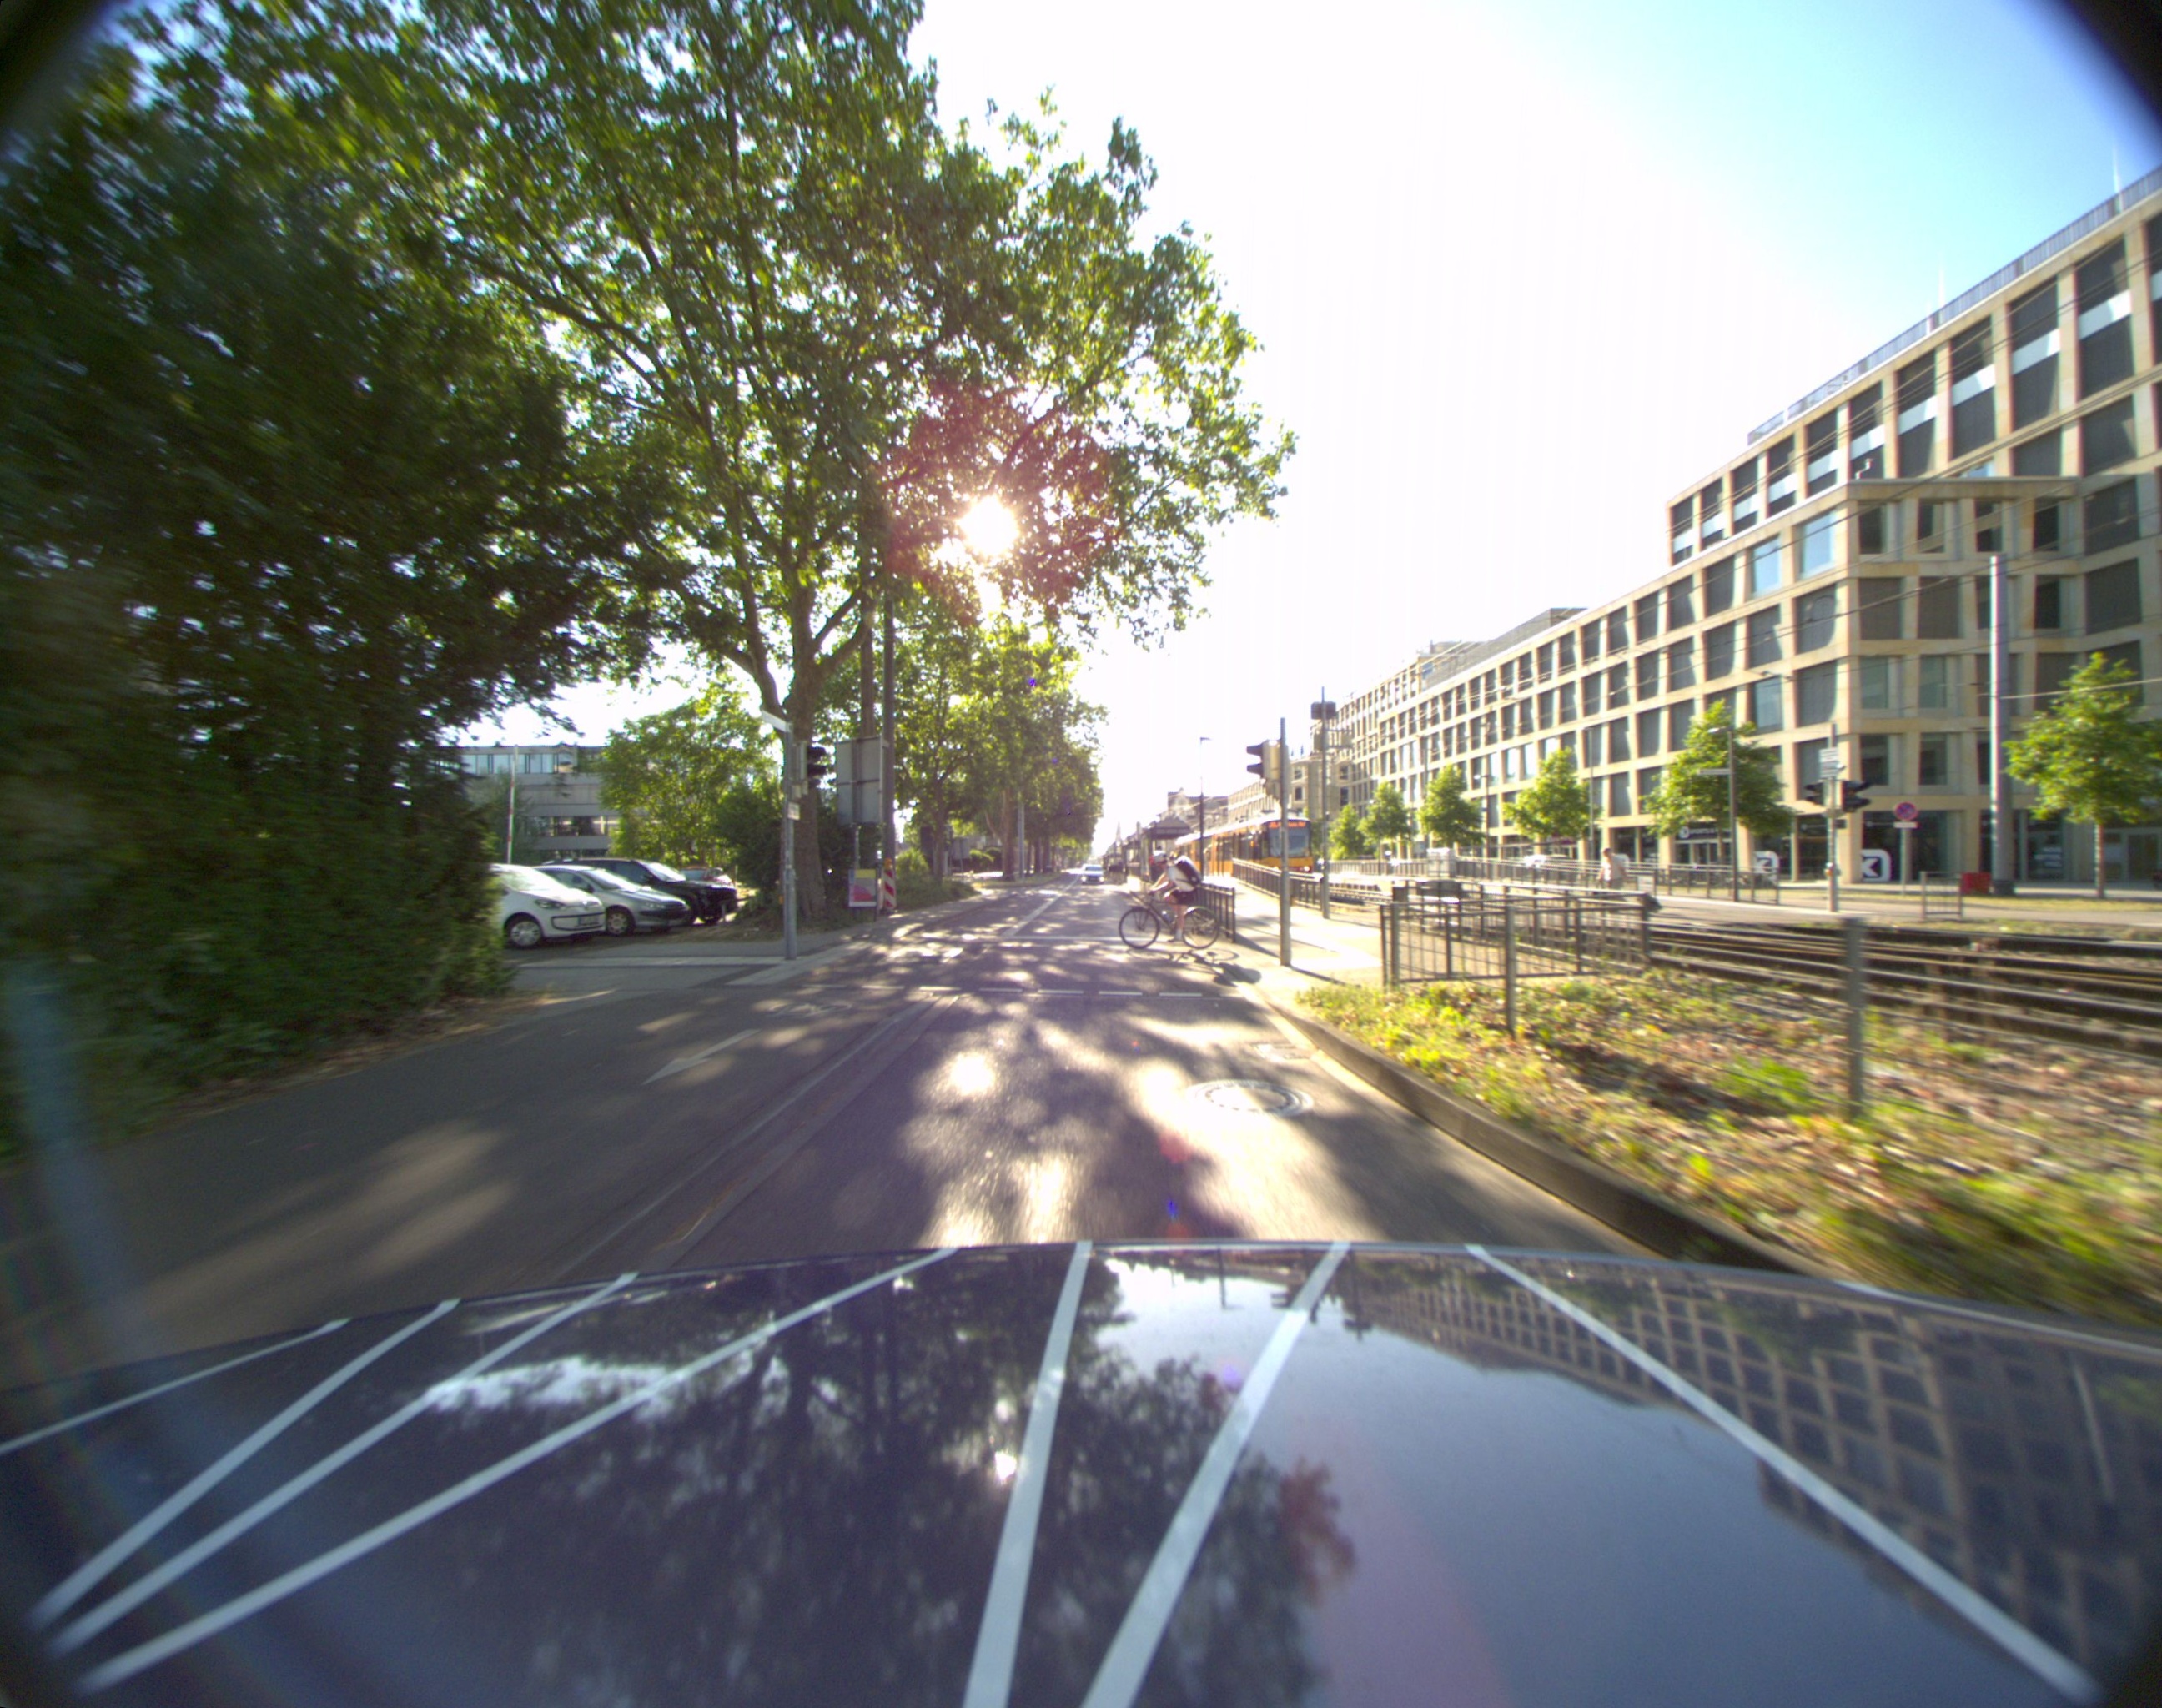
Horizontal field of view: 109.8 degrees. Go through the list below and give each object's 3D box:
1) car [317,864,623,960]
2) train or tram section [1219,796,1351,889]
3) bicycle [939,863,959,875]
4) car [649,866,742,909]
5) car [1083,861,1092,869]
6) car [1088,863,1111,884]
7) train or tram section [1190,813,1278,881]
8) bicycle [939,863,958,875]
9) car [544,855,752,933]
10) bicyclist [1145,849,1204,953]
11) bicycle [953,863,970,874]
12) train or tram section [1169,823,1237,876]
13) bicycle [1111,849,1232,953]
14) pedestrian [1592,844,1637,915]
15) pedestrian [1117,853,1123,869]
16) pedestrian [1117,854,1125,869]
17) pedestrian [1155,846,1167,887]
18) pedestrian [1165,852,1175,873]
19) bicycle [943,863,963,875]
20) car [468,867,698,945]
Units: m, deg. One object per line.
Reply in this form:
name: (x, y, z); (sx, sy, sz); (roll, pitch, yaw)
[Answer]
car: (-10.606, 0.968, 13.404); (3.895, 1.496, 1.888); (-1, 0, 2)
train or tram section: (9.496, -0.436, 37.312); (3.317, 3.807, 11.844); (-1, 0, 0)
bicycle: (-12.265, 1.403, 70.483); (1.778, 1.114, 0.439); (0, 0, -6)
car: (-14.986, 1.264, 29.759); (1.618, 1.506, 3.803); (-1, 0, 1)
car: (1.497, 2.489, 174.366); (1.833, 1.644, 4.000); (-2, 0, 1)
car: (1.427, 1.459, 58.569); (1.649, 1.555, 3.666); (-1, 0, 0)
train or tram section: (9.579, -0.367, 49.189); (3.317, 3.807, 11.844); (-1, 0, 0)
bicycle: (-12.670, 1.414, 72.737); (1.777, 1.114, 0.439); (0, 0, 0)
car: (-10.477, 0.930, 18.583); (3.996, 1.754, 1.833); (-1, 0, 1)
bicyclist: (1.581, 0.782, 12.987); (0.908, 1.706, 0.771); (-1, 0, 3)
bicycle: (-12.442, 1.465, 79.018); (1.692, 1.114, 0.439); (0, 0, 0)
train or tram section: (9.663, -0.297, 62.306); (3.317, 3.806, 14.219); (-1, 0, 0)
bicycle: (1.520, 0.792, 12.975); (1.971, 1.706, 0.591); (-1, 0, 3)
pedestrian: (13.148, 0.620, 18.746); (0.670, 1.706, 0.725); (-1, 0, 12)
pedestrian: (4.160, 0.767, 81.663); (0.613, 1.659, 0.613); (-1, 0, 2)
pedestrian: (4.270, 0.777, 80.371); (0.614, 1.632, 0.612); (-1, 0, -19)
pedestrian: (3.330, 0.519, 31.784); (0.413, 1.706, 0.665); (-1, 0, 1)
pedestrian: (7.569, 0.735, 64.754); (0.795, 1.774, 0.625); (-1, 0, 1)
bicycle: (-12.432, 1.427, 73.780); (1.777, 1.114, 0.439); (0, 0, 0)
car: (-10.120, 1.023, 15.619); (3.603, 1.453, 1.678); (-1, 0, 2)
